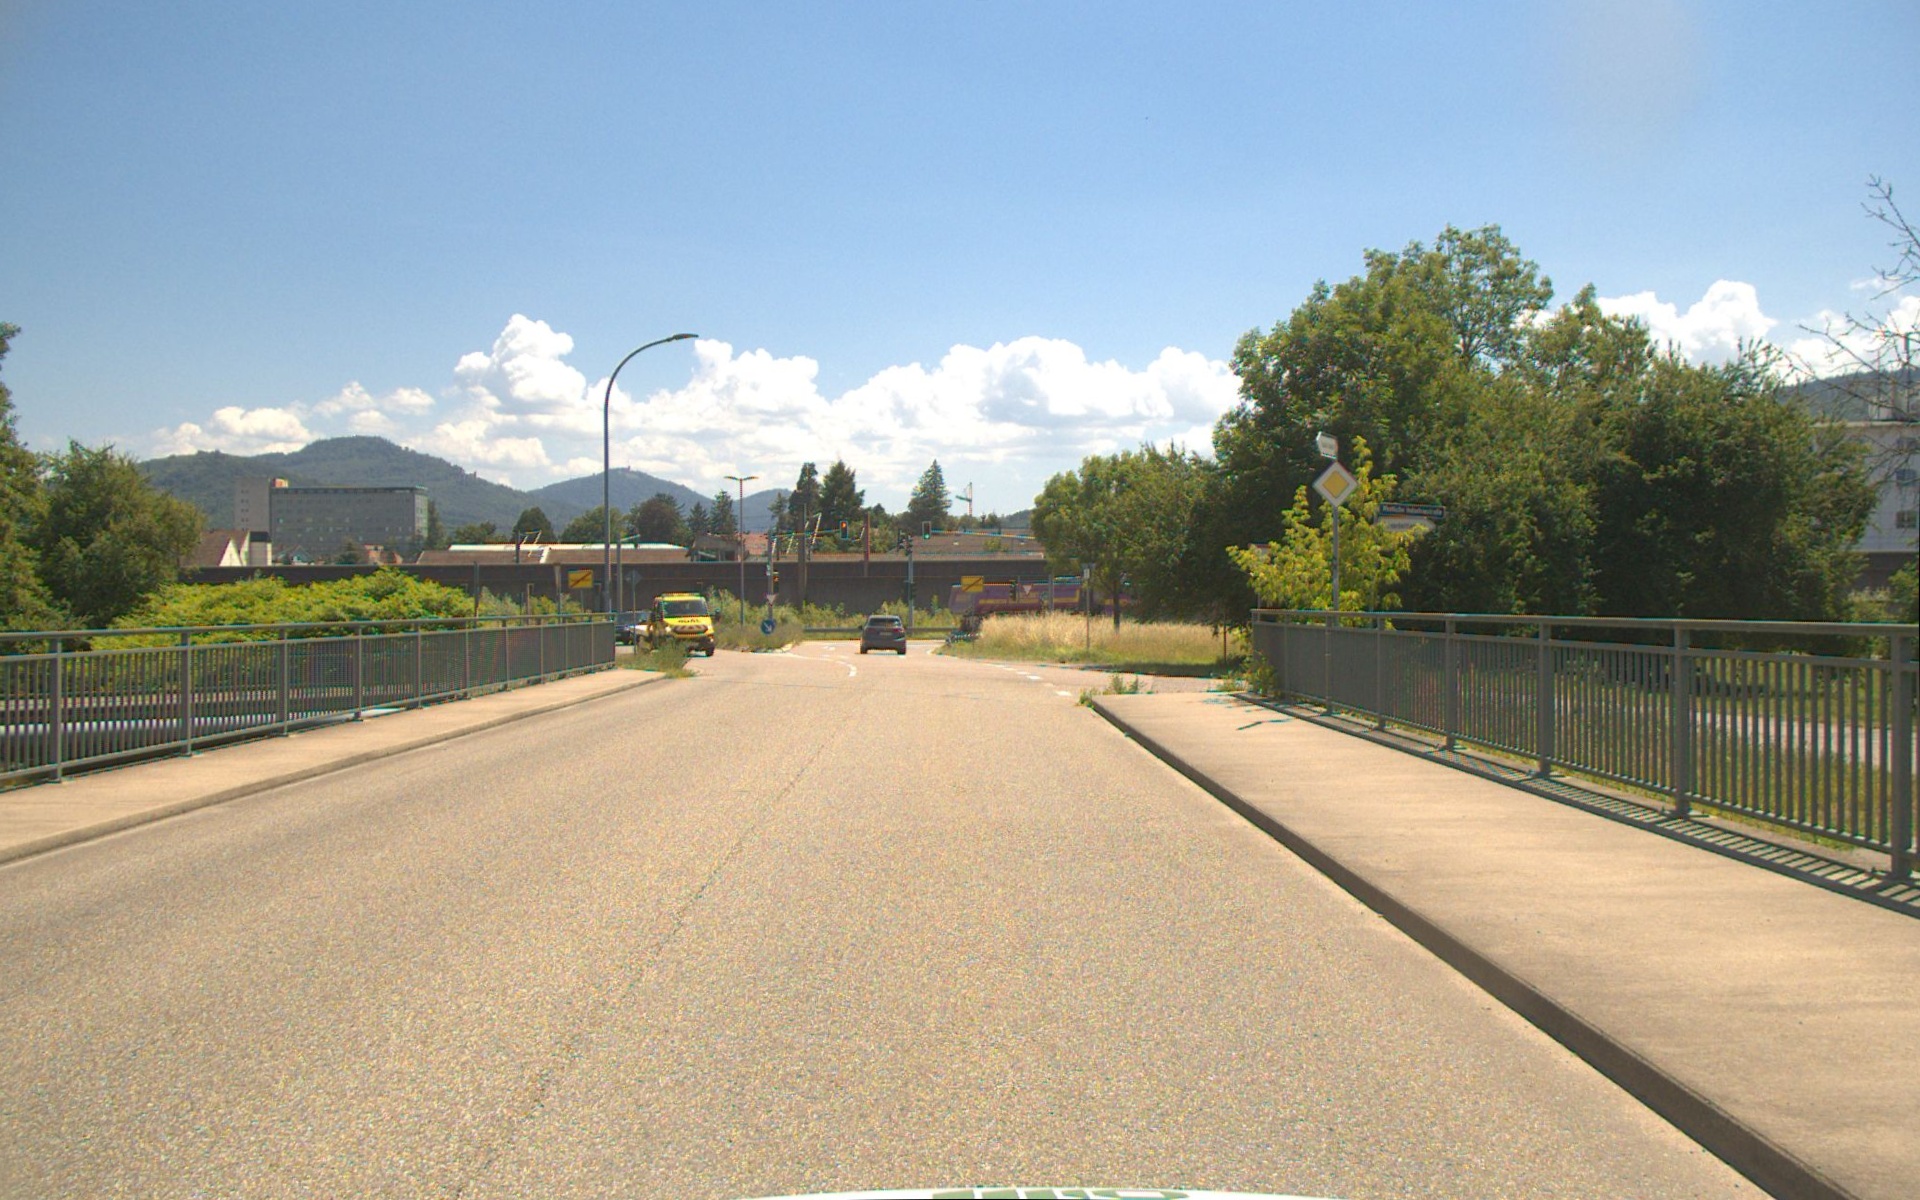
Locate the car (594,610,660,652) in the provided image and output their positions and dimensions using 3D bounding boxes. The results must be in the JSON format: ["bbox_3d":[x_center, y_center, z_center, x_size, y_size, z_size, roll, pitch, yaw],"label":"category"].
[{"bbox_3d":[-16.634,1.514,82.823,1.861,1.731,4.005,-2,3,9],"label":"car"}]

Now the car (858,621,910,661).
[{"bbox_3d":[-3.129,1.639,67.541,1.954,1.529,3.996,1,0,-4],"label":"car"}]

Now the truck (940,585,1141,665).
[{"bbox_3d":[4.621,1.455,92.076,11.656,4.254,2.972,1,-2,-33],"label":"truck"}]

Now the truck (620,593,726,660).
[{"bbox_3d":[-11.442,1.124,65.238,2.279,2.378,8.989,-2,-1,-22],"label":"truck"}]
